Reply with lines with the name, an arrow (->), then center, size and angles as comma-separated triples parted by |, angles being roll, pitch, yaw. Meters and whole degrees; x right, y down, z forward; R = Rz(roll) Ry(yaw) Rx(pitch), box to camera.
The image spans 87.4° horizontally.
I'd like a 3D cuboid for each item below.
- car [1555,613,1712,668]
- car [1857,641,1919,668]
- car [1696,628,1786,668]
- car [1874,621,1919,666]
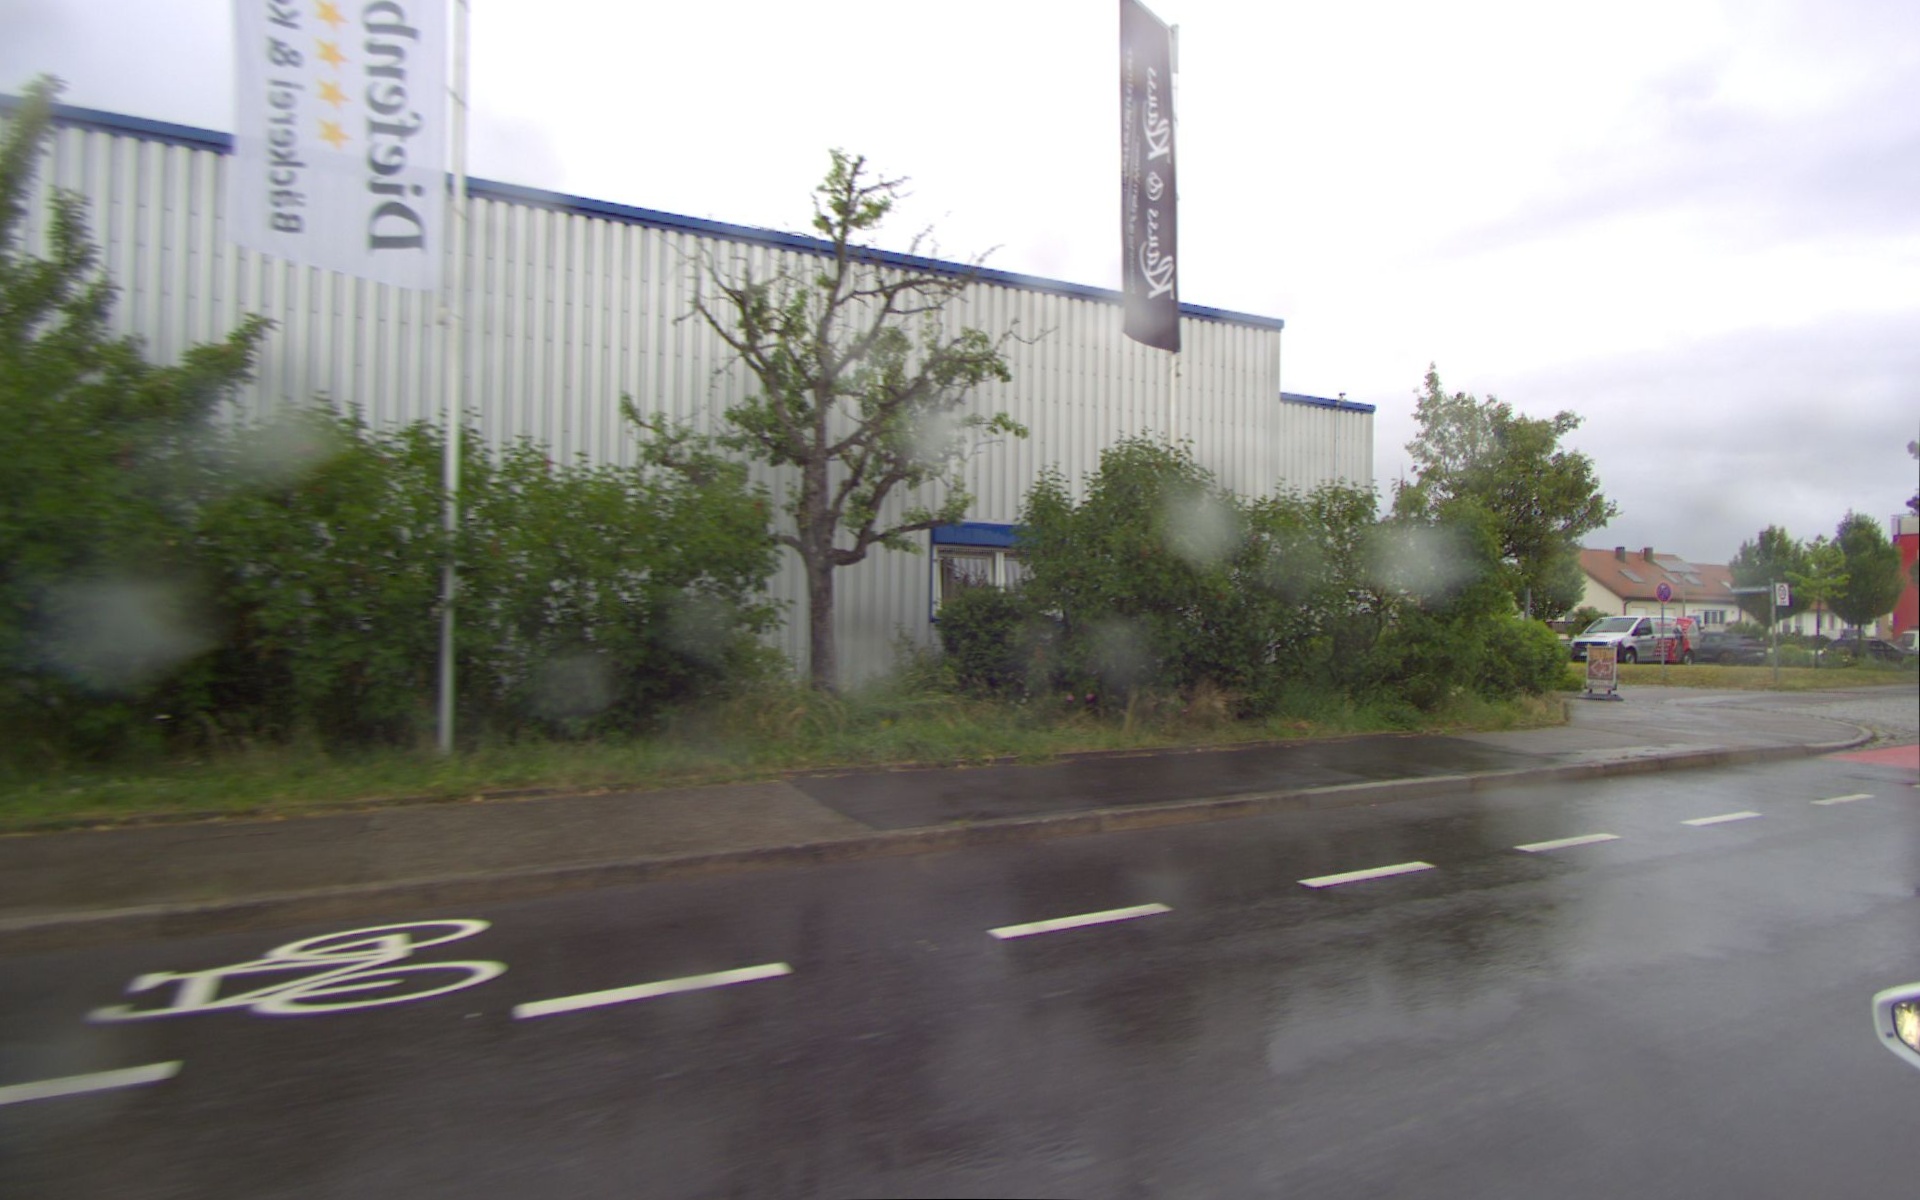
car -> 24.171, 1.413, 36.026 | 5.529, 1.846, 2.029 | 0, 0, -23
car -> 47.528, 2.737, 50.405 | 1.684, 1.261, 3.386 | 0, 0, -28
car -> 34.447, 2.077, 44.273 | 4.127, 1.577, 2.099 | 1, 0, -36
car -> 51.492, 2.313, 52.891 | 2.153, 2.341, 4.469 | 0, 0, -22
